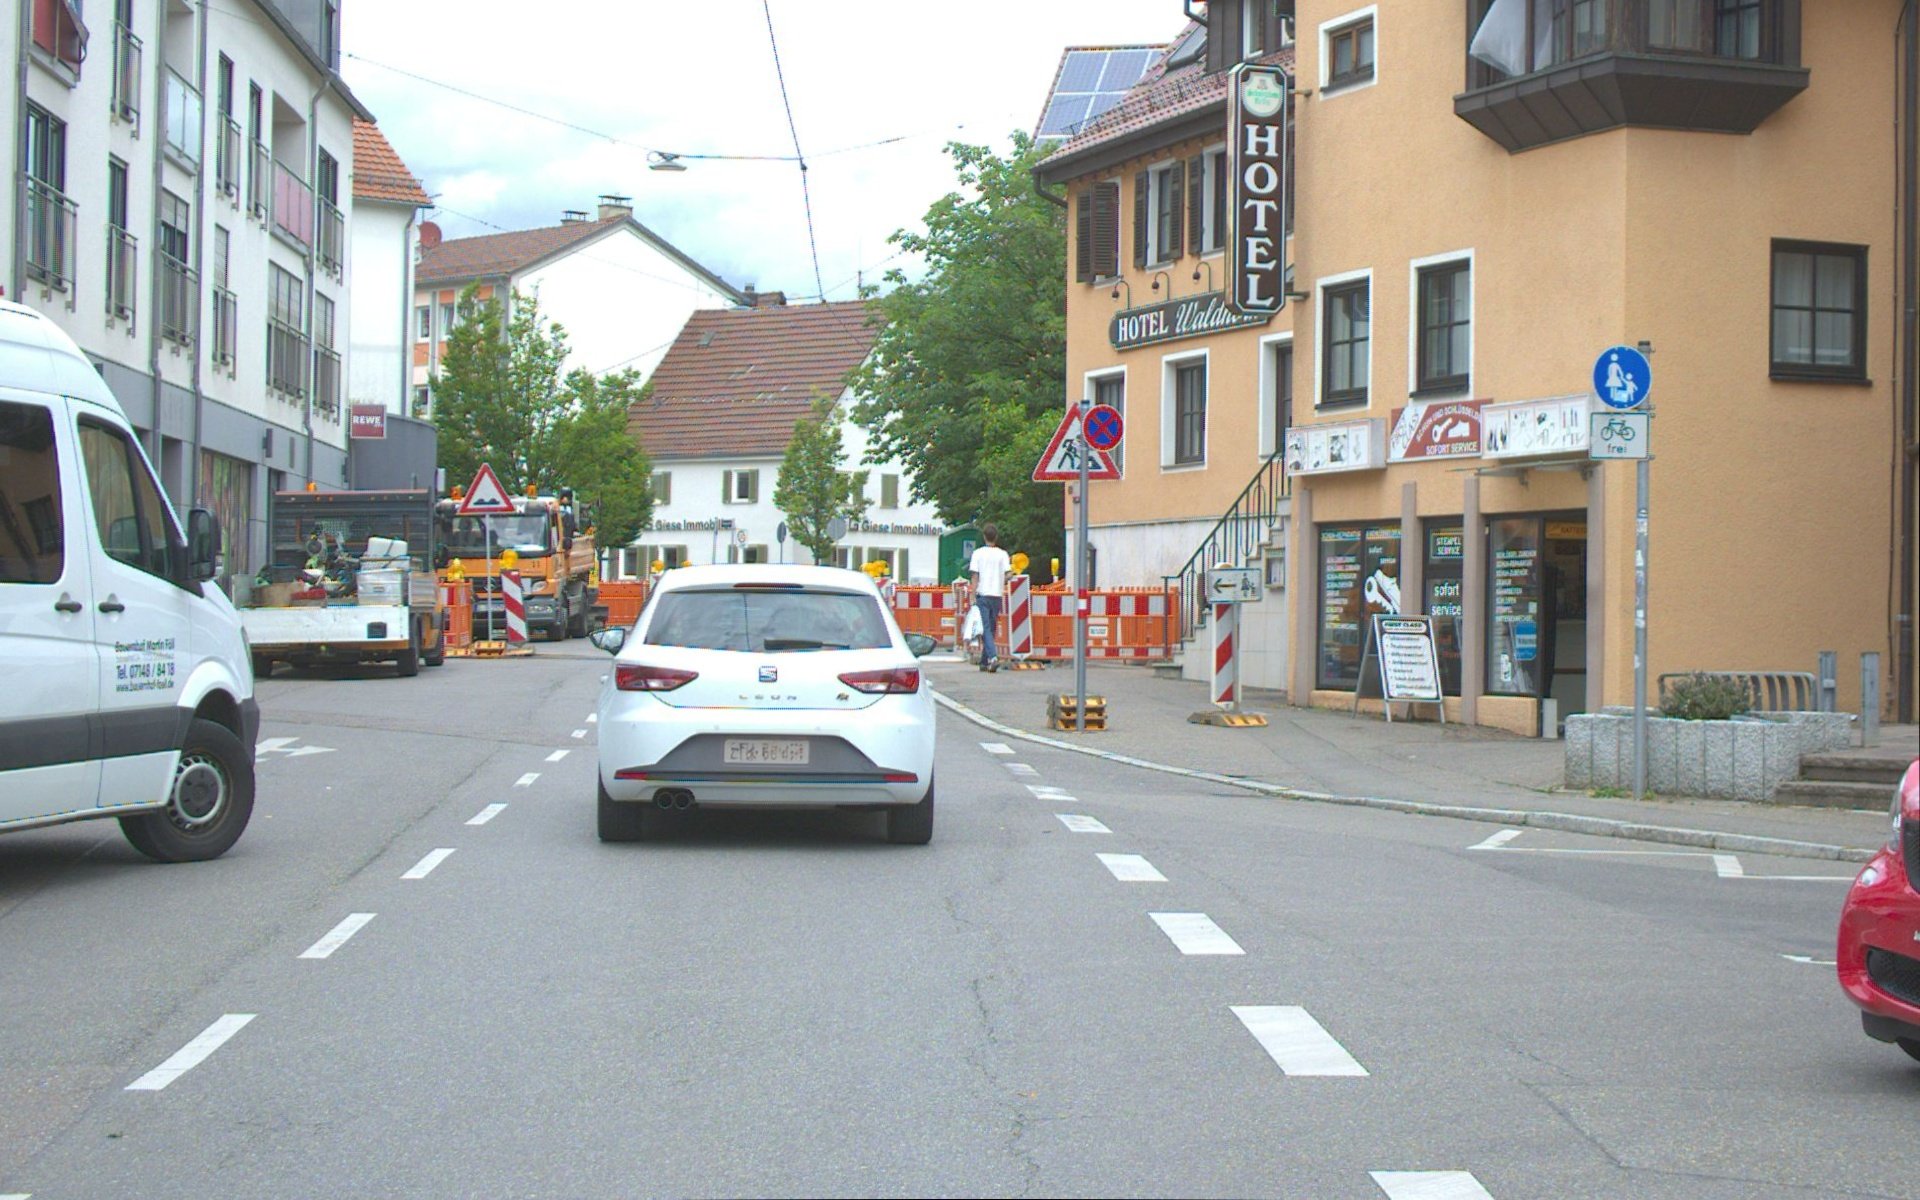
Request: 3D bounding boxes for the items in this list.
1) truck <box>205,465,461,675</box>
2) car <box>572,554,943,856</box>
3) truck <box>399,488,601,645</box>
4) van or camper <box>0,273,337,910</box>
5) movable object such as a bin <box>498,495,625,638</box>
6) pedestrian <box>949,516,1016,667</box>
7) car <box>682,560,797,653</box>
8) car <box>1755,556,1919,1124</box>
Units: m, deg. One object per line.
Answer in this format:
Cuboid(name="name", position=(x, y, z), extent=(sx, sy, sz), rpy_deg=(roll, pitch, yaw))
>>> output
Cuboid(name="truck", position=(-7.805, -0.407, 43.447), extent=(2.413, 2.457, 6.308), rpy_deg=(0, 1, -3))
Cuboid(name="car", position=(-1.094, 0.492, 18.823), extent=(1.811, 1.475, 3.871), rpy_deg=(0, 1, -3))
Cuboid(name="truck", position=(-8.365, -0.627, 63.258), extent=(2.731, 2.715, 6.848), rpy_deg=(1, 1, 1))
Cuboid(name="van or camper", position=(-4.946, -0.050, 14.777), extent=(2.320, 2.598, 6.205), rpy_deg=(0, 1, 12))
Cuboid(name="movable object such as a bin", position=(-7.986, -0.636, 69.274), extent=(1.839, 2.754, 4.505), rpy_deg=(1, -1, 2))
Cuboid(name="pedestrian", position=(0.287, -0.115, 44.496), extent=(0.798, 1.943, 0.836), rpy_deg=(0, 1, -5))
Cuboid(name="car", position=(-3.658, 0.088, 57.523), extent=(1.811, 1.475, 3.871), rpy_deg=(0, 1, -2))
Cuboid(name="car", position=(3.981, 0.645, 9.586), extent=(2.929, 1.515, 1.821), rpy_deg=(0, 1, -12))
